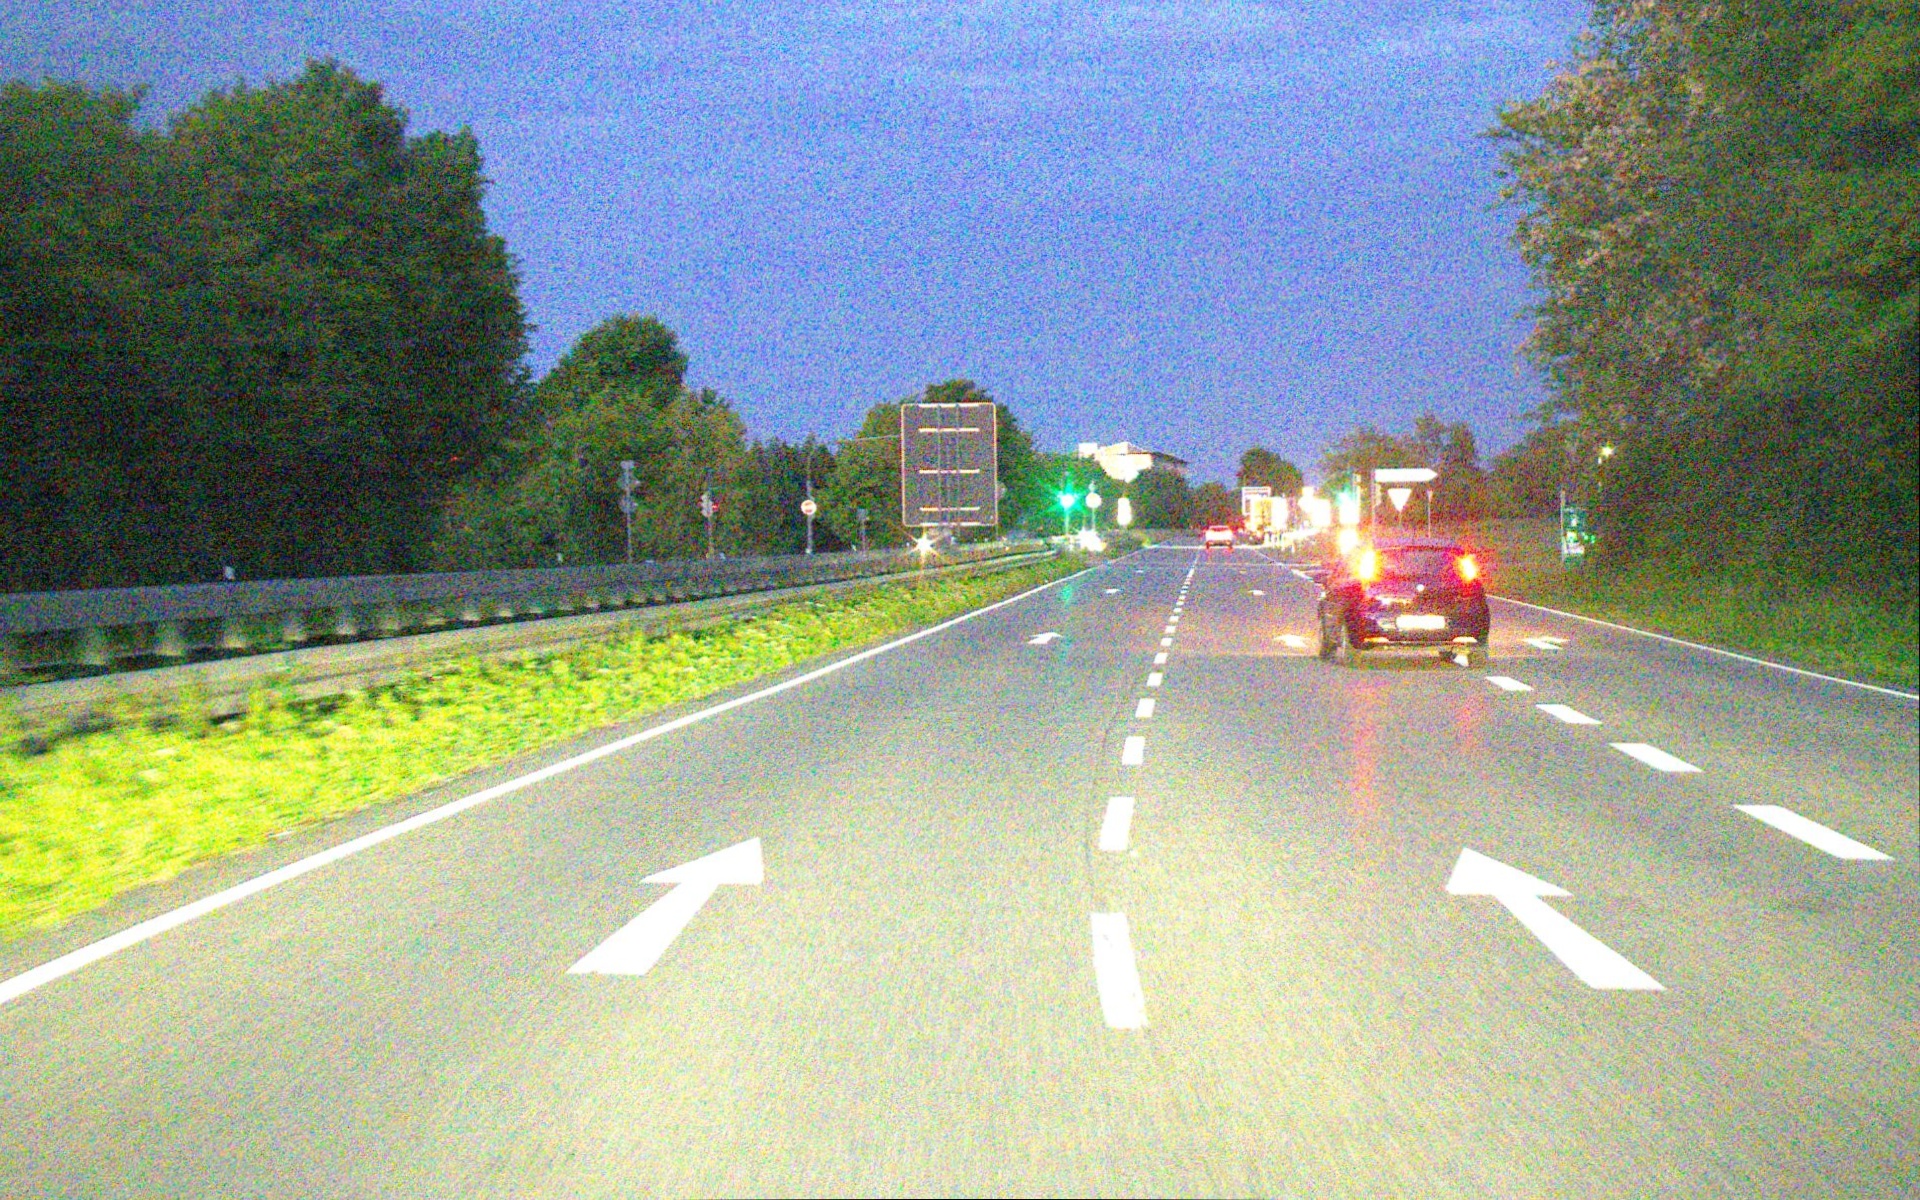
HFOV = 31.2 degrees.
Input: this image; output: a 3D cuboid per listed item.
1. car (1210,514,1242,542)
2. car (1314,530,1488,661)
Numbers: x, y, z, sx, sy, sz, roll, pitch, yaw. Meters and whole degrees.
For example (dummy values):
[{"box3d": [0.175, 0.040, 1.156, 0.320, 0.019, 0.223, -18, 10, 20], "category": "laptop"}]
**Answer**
[{"box3d": [18.353, -4.935, 237.227, 1.994, 1.744, 4.000, -4, 0, 3], "category": "car"}, {"box3d": [5.164, -0.096, 40.694, 1.753, 1.448, 4.433, 0, 1, 4], "category": "car"}]
